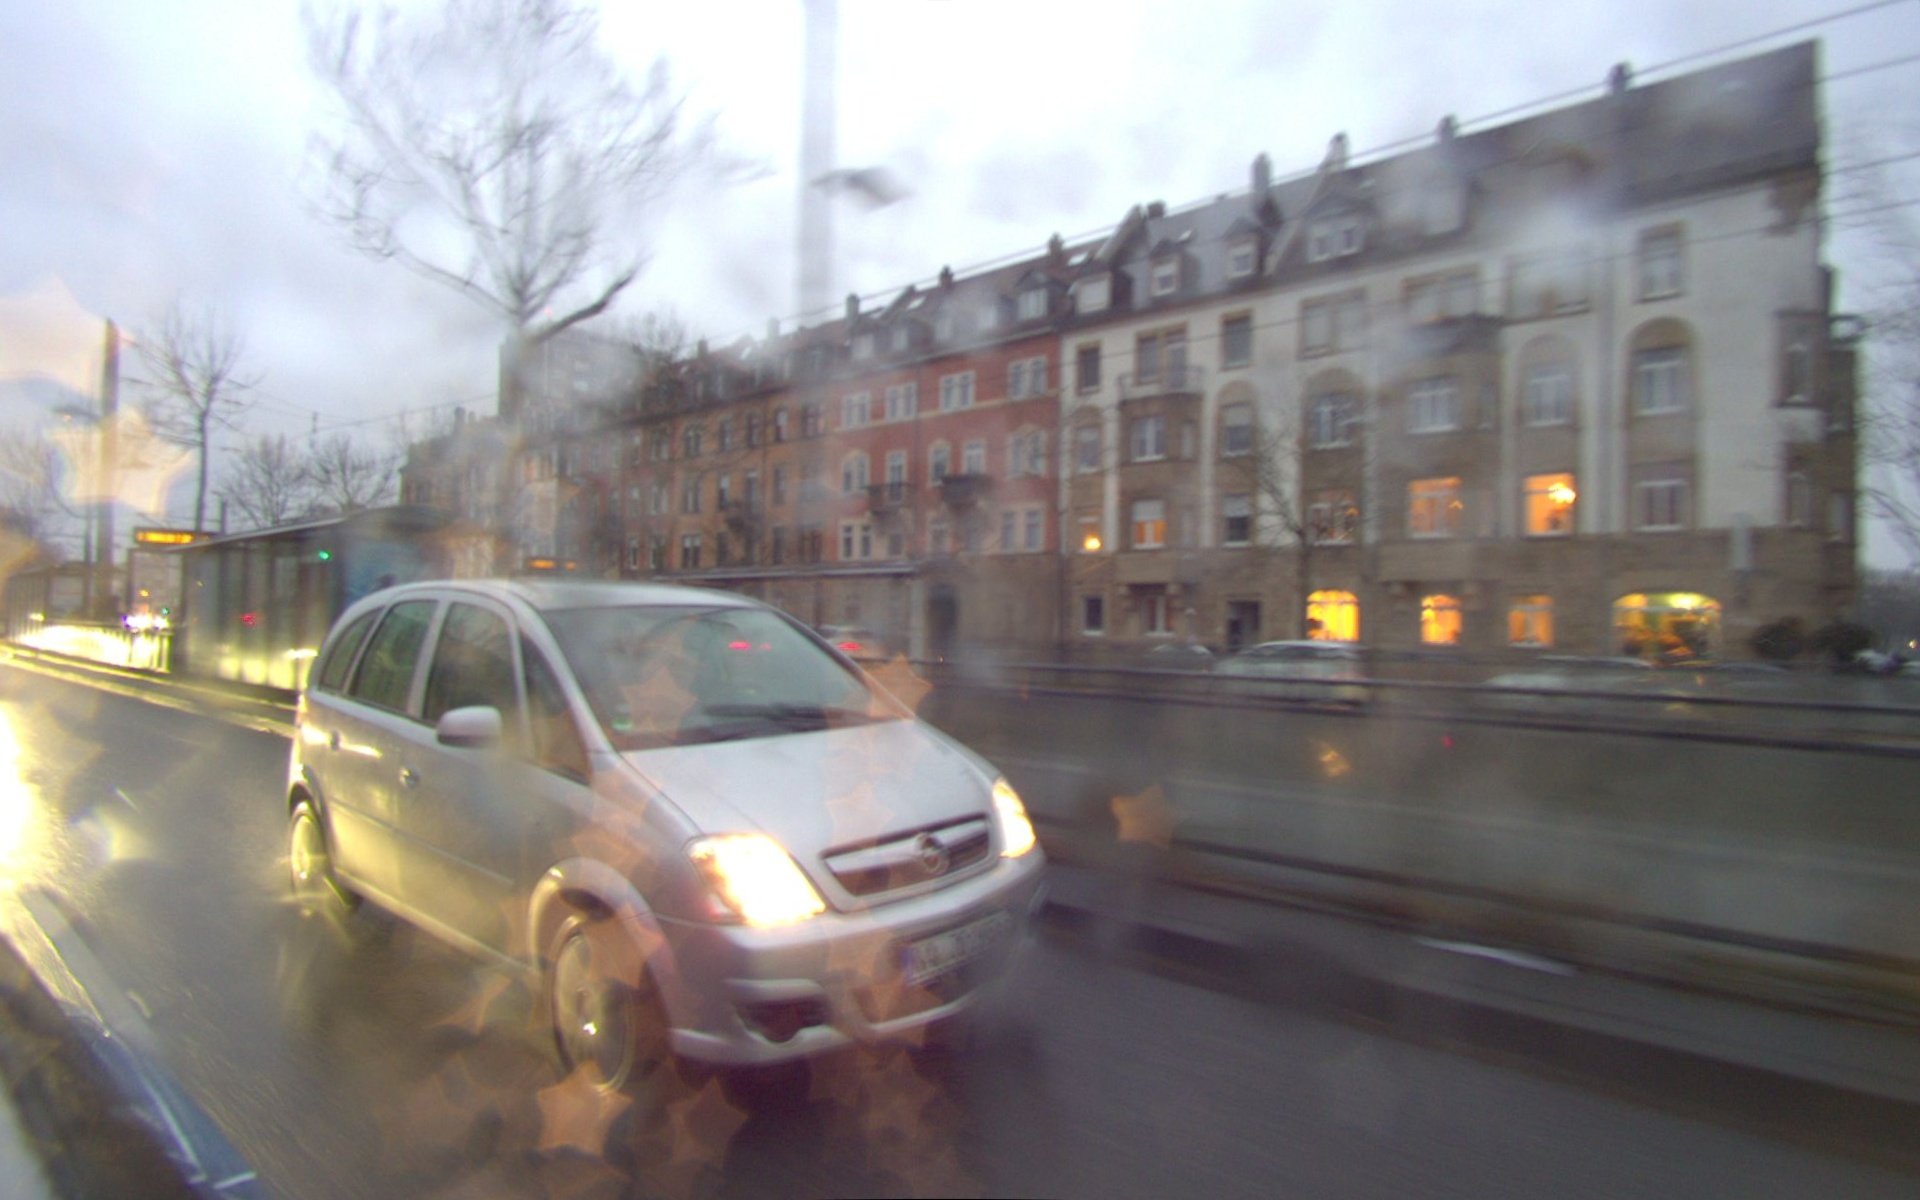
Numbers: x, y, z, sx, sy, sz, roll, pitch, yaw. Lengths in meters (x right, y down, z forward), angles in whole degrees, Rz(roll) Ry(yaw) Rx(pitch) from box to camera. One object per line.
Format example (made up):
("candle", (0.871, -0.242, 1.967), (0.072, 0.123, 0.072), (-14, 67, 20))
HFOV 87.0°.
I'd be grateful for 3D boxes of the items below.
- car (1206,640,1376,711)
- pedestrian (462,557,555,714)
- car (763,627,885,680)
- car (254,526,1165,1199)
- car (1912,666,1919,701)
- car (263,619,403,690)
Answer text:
("car", (7.424, 1.655, 22.804), (3.258, 1.418, 1.660), (-1, -4, 41))
("pedestrian", (-6.118, 0.489, 13.717), (0.864, 2.029, 0.932), (4, -4, -38))
("car", (-4.366, 1.688, 32.246), (3.744, 1.546, 1.662), (0, -4, 38))
("car", (-1.359, 0.668, 4.319), (4.052, 1.612, 1.790), (-1, -1, 41))
("car", (31.558, 2.680, 32.444), (1.330, 1.083, 2.860), (-1, -3, 40))
("car", (-14.729, 1.231, 23.696), (3.998, 1.497, 1.646), (-1, -3, 41))
